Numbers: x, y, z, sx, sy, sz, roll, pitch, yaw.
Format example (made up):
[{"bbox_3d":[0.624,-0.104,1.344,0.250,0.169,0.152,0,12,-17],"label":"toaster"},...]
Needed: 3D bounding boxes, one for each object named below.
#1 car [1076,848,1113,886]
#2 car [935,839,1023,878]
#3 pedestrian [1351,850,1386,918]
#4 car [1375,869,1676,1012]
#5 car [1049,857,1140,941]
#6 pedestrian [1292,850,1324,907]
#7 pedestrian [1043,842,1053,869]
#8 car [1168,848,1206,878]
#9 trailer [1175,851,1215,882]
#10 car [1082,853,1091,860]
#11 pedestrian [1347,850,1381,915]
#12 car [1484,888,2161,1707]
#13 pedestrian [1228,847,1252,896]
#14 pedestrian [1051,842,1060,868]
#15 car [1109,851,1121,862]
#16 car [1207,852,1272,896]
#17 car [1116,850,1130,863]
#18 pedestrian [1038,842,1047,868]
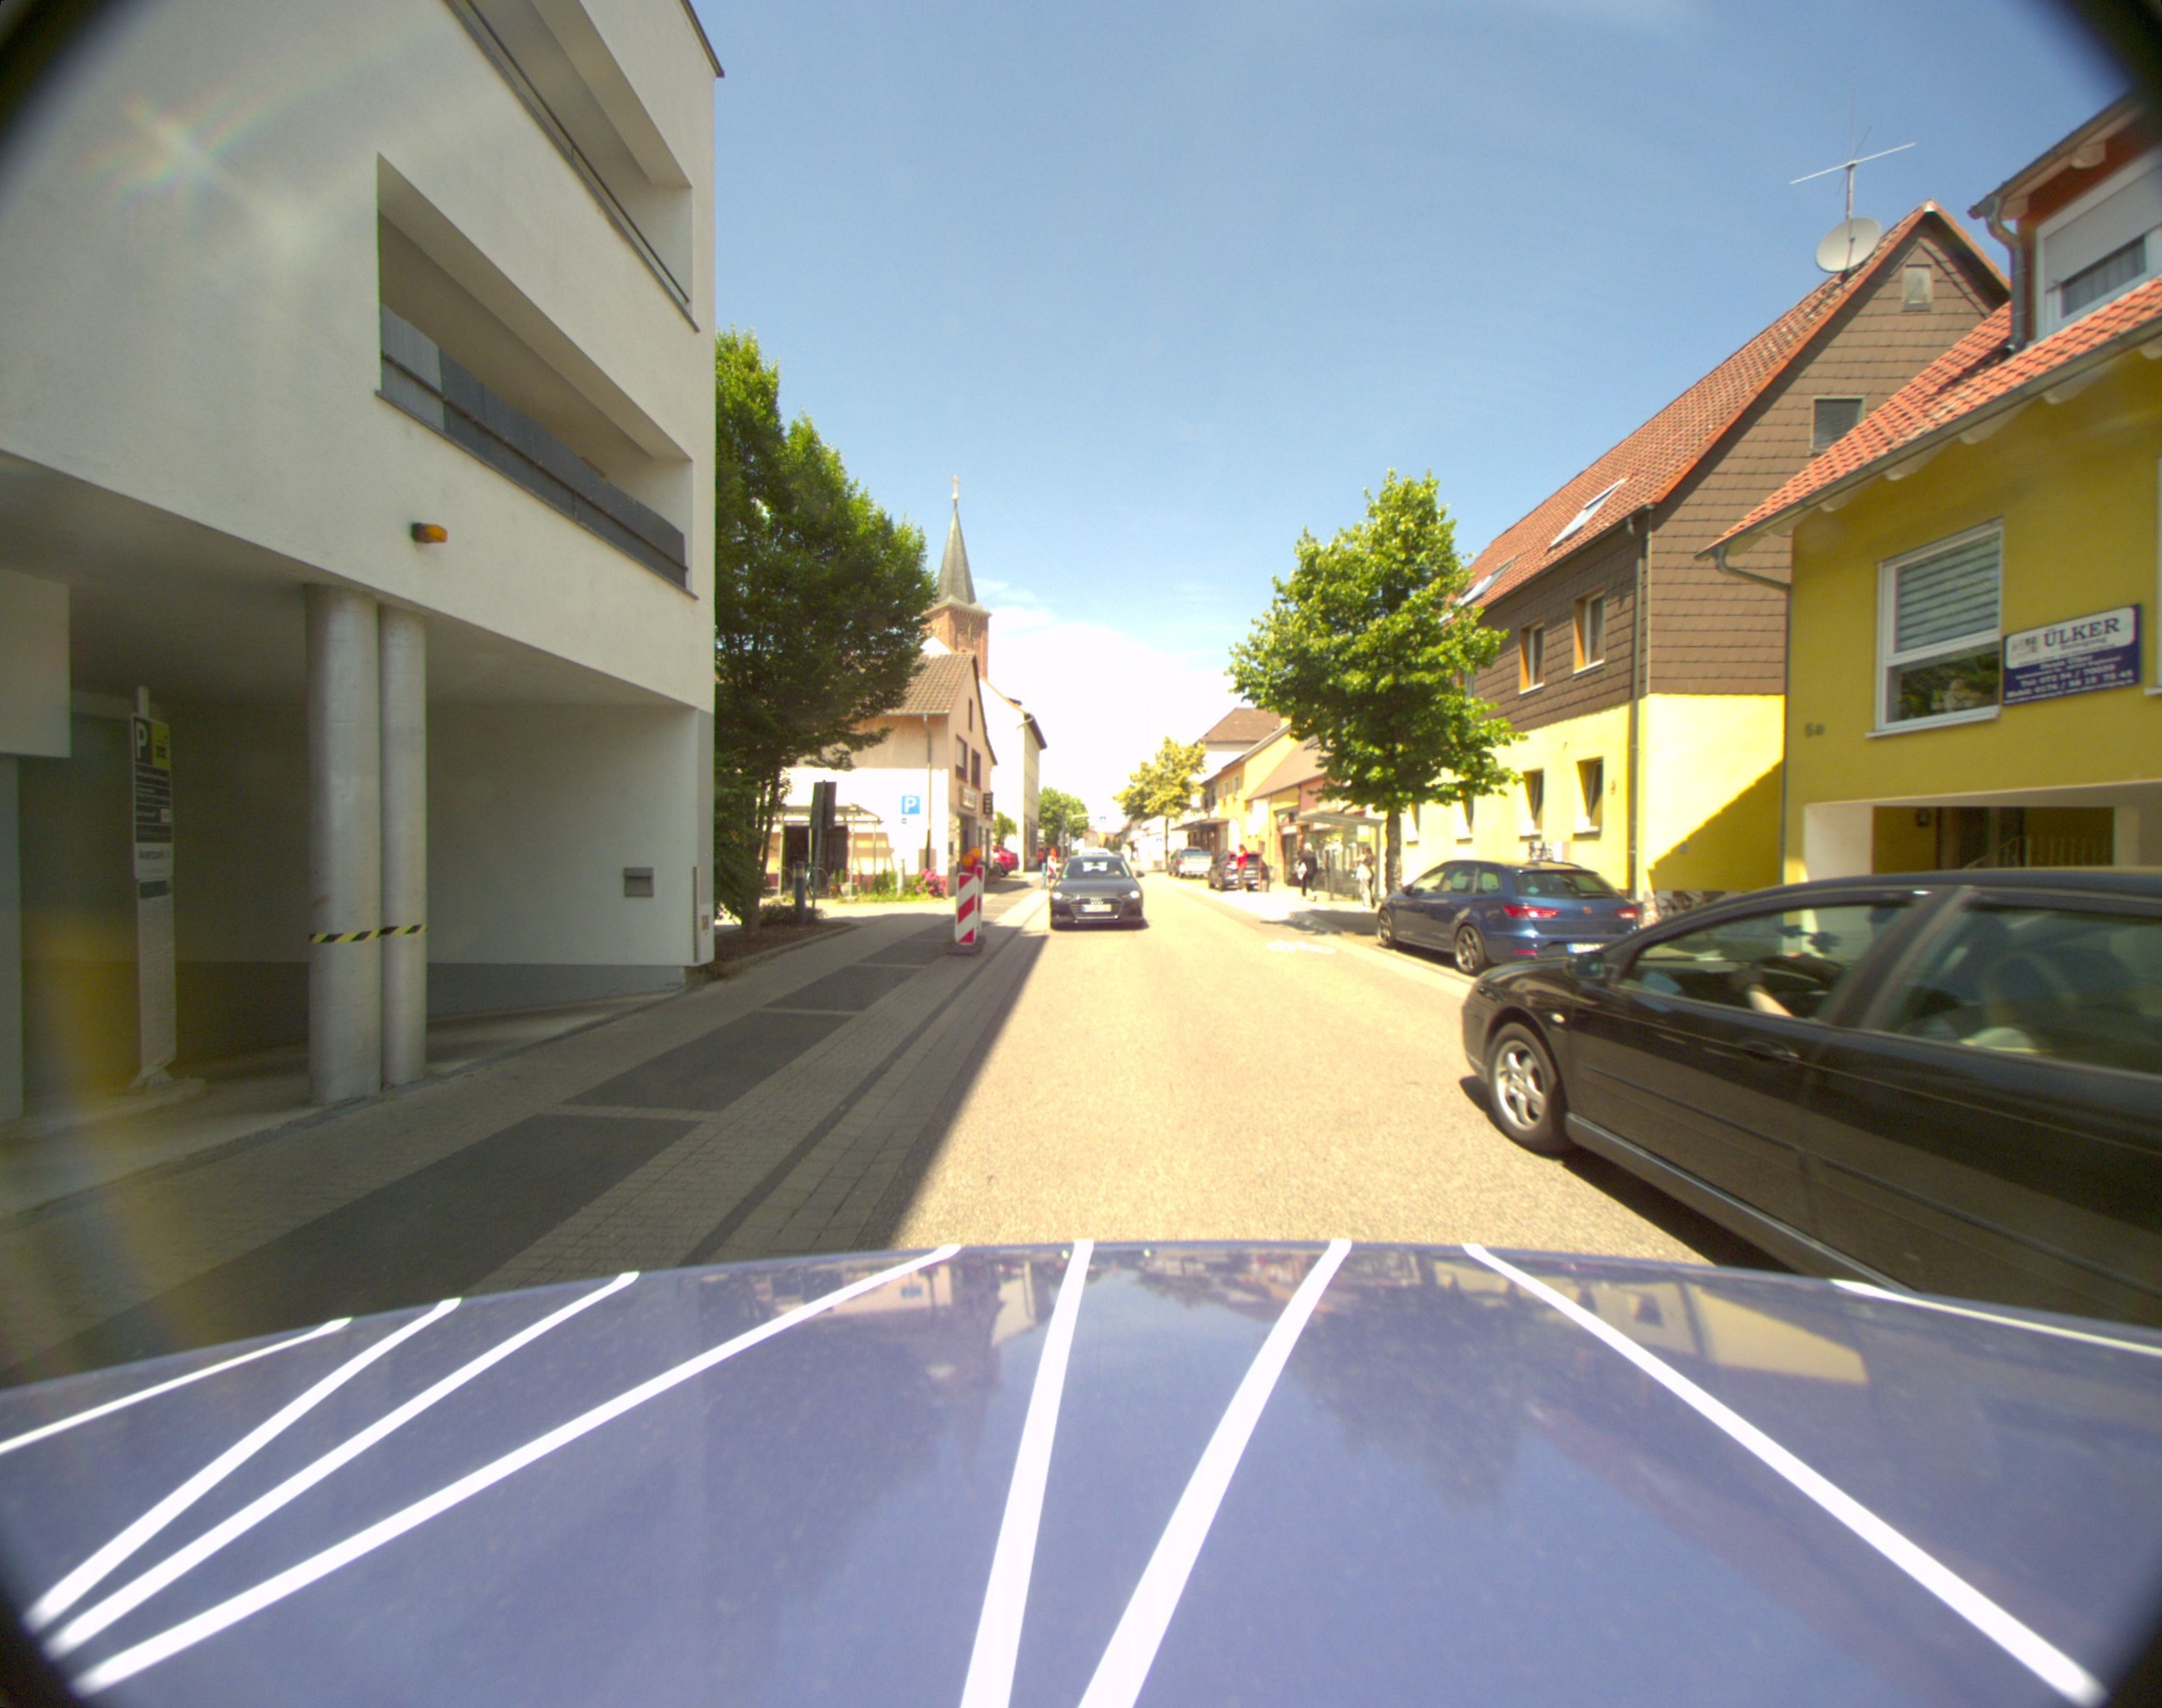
[{"bbox_3d":[0.626,0.563,35.399,1.581,1.620,4.065,1,0,1],"label":"car"},{"bbox_3d":[-5.168,0.223,38.940,4.203,1.849,2.000,1,1,0],"label":"car"},{"bbox_3d":[6.915,0.713,18.268,0.631,1.592,0.528,1,1,1],"label":"pedestrian"},{"bbox_3d":[5.545,0.966,10.191,1.660,1.399,4.158,0,0,1],"label":"car"},{"bbox_3d":[0.268,0.802,15.400,1.581,1.424,4.065,1,0,1],"label":"car"},{"bbox_3d":[6.415,0.681,21.473,0.663,1.592,0.771,1,1,1],"label":"pedestrian"},{"bbox_3d":[-2.302,0.095,52.744,0.581,1.875,0.695,1,1,3],"label":"pedestrian"},{"bbox_3d":[6.433,0.516,46.443,1.695,1.742,3.999,-2,1,-1],"label":"car"},{"bbox_3d":[6.282,0.645,42.242,1.493,1.571,3.883,-2,0,-1],"label":"trailer"},{"bbox_3d":[1.205,0.561,166.445,1.720,1.577,3.730,-2,1,-1],"label":"car"},{"bbox_3d":[7.034,0.701,18.881,0.631,1.592,0.528,1,1,1],"label":"pedestrian"},{"bbox_3d":[2.962,0.941,1.990,1.693,1.464,4.000,1,0,1],"label":"car"},{"bbox_3d":[5.410,0.582,25.833,0.643,1.645,0.624,1,1,1],"label":"pedestrian"},{"bbox_3d":[-1.808,0.068,54.248,0.581,1.875,0.695,1,1,3],"label":"pedestrian"},{"bbox_3d":[5.600,0.426,125.344,1.695,1.761,3.999,-3,1,-1],"label":"car"},{"bbox_3d":[6.108,0.726,29.739,1.753,1.566,4.158,0,0,1],"label":"car"},{"bbox_3d":[6.102,0.348,110.389,1.695,1.761,3.999,-3,1,-1],"label":"car"},{"bbox_3d":[-2.803,0.095,55.189,0.581,1.875,0.695,1,1,3],"label":"pedestrian"}]
